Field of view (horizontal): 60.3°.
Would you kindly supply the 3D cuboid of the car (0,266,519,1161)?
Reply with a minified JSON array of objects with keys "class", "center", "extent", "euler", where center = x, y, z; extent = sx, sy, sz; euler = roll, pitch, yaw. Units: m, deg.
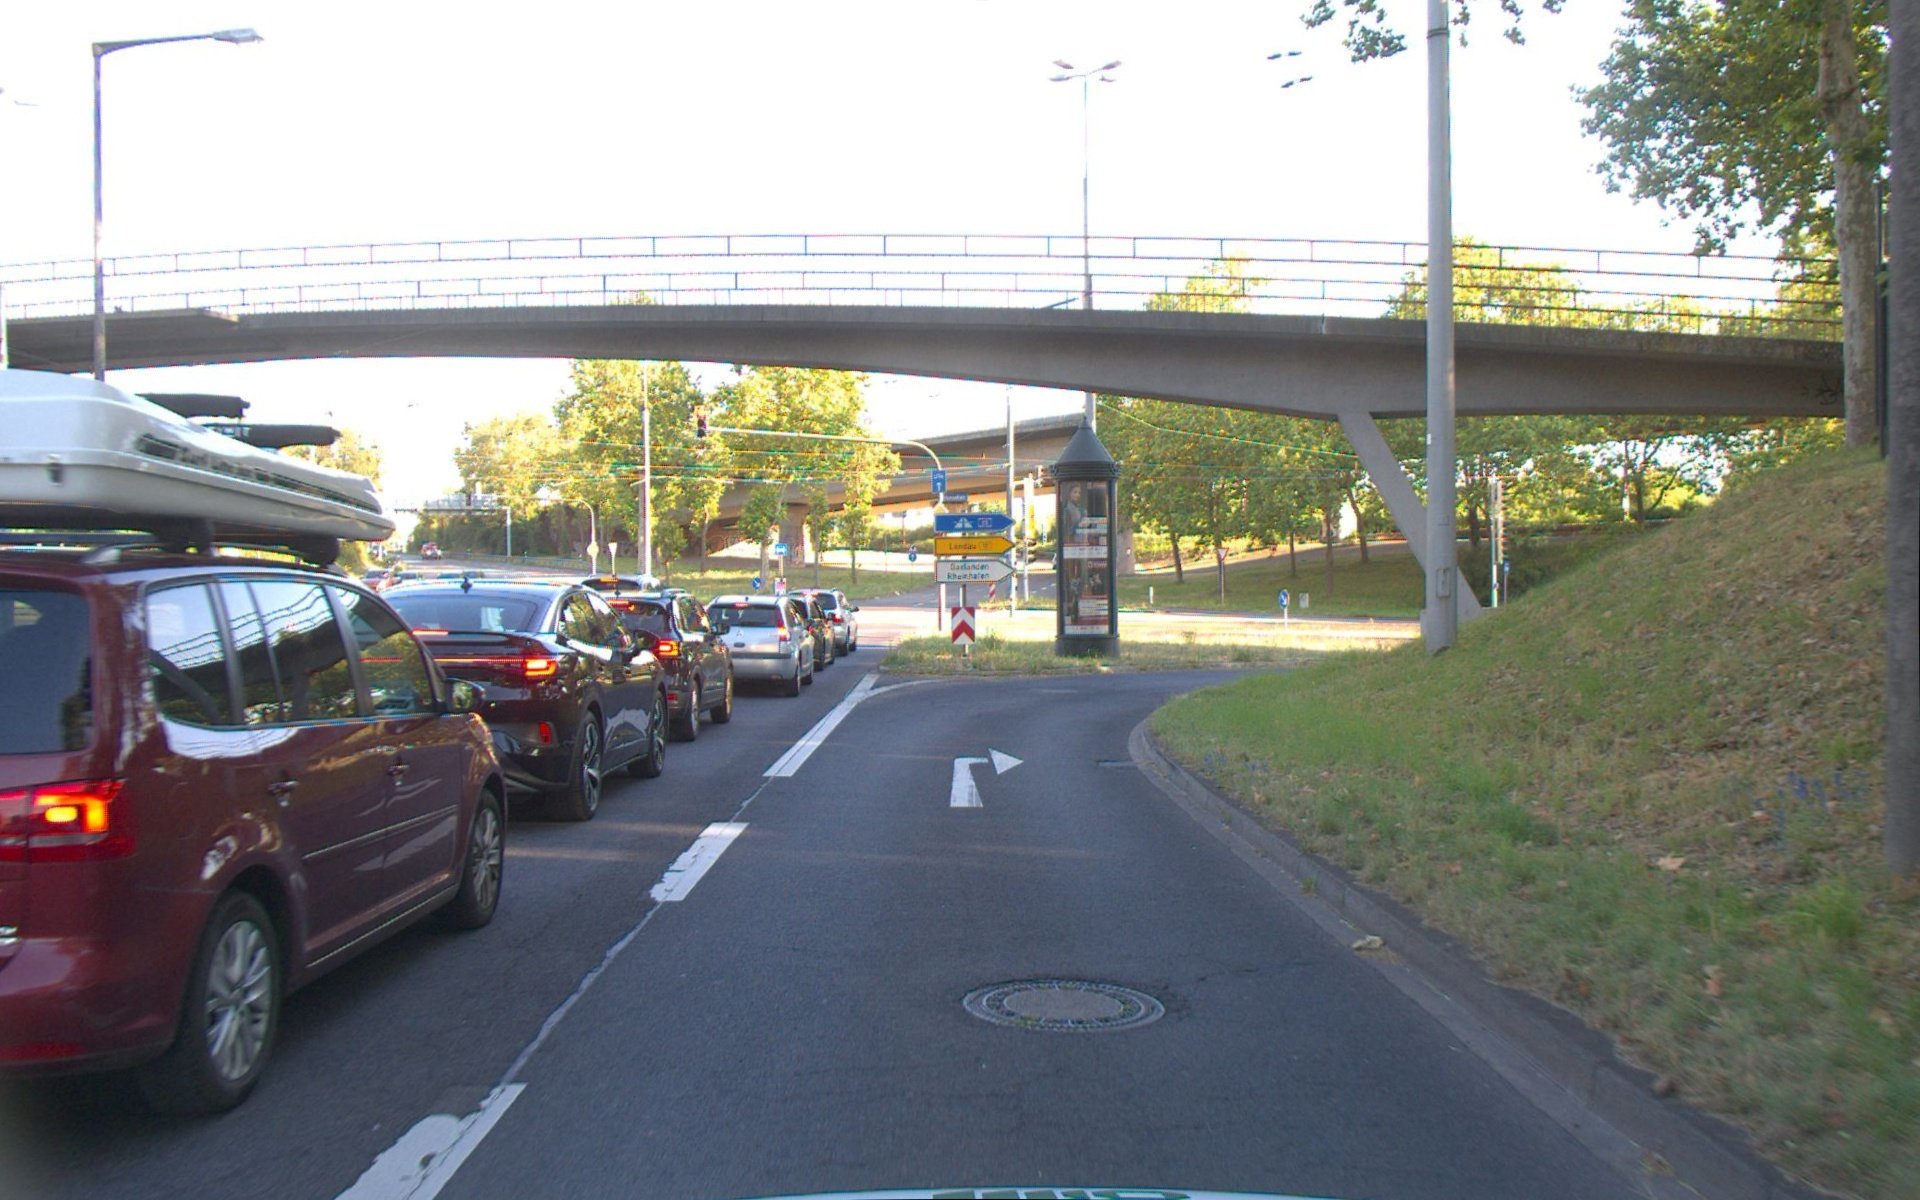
[{"class":"car","center":[-2.993,0.268,5.948],"extent":[1.756,2.142,3.999],"euler":[-2,1,-1]}]

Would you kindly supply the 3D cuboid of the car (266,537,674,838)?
[{"class":"car","center":[-3.358,0.498,12.235],"extent":[1.756,1.780,4.240],"euler":[-2,1,-1]}]

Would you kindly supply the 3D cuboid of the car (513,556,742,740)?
[{"class":"car","center":[-3.583,0.447,18.514],"extent":[1.756,1.780,3.999],"euler":[-2,1,-1]}]

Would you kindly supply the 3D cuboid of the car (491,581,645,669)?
[{"class":"car","center":[-7.150,0.400,30.610],"extent":[1.706,1.457,4.412],"euler":[1,1,1]}]

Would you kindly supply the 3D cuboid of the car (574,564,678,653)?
[{"class":"car","center":[-7.439,0.147,37.215],"extent":[1.758,1.823,4.821],"euler":[-2,1,-6]}]

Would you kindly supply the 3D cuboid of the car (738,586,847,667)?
[{"class":"car","center":[-3.260,0.474,32.918],"extent":[1.756,1.407,4.476],"euler":[-2,1,-1]}]

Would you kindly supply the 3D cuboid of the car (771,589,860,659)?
[{"class":"car","center":[-3.344,0.517,38.848],"extent":[1.756,1.467,3.999],"euler":[-2,1,-1]}]

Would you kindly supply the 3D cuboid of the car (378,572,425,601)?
[{"class":"car","center":[-35.959,-0.918,106.570],"extent":[1.841,1.802,3.998],"euler":[1,1,-2]}]

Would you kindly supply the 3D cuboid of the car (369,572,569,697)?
[{"class":"car","center":[-6.926,0.419,23.768],"extent":[1.629,1.592,4.190],"euler":[-2,1,-1]}]

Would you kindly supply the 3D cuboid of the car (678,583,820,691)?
[{"class":"car","center":[-3.257,0.520,26.210],"extent":[1.756,1.507,3.999],"euler":[-2,1,-1]}]

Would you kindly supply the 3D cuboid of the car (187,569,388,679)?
[{"class":"car","center":[-10.803,0.332,26.860],"extent":[1.629,1.592,4.000],"euler":[-2,1,-1]}]

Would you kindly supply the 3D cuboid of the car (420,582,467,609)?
[{"class":"car","center":[-31.905,-0.314,102.261],"extent":[1.841,1.602,3.673],"euler":[1,1,-2]}]
